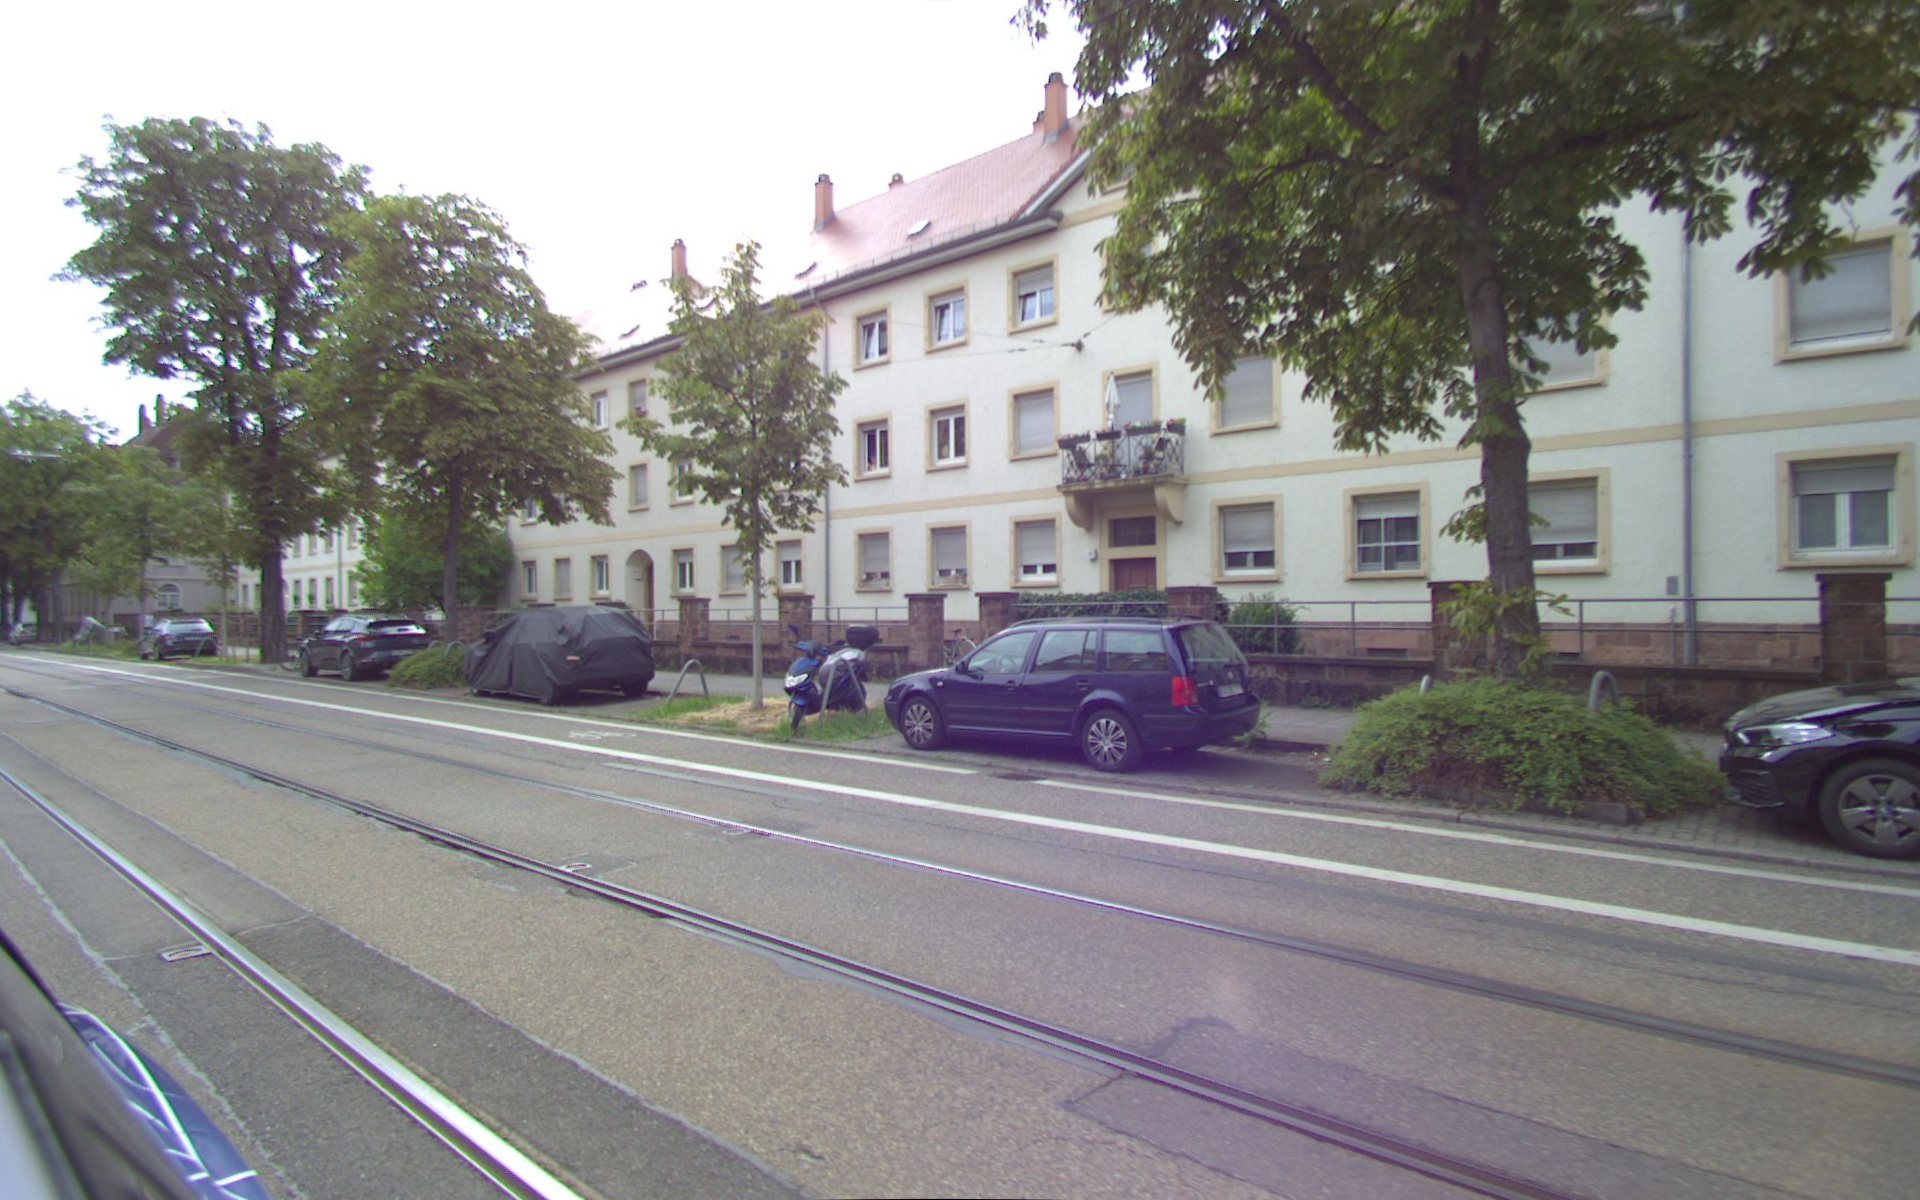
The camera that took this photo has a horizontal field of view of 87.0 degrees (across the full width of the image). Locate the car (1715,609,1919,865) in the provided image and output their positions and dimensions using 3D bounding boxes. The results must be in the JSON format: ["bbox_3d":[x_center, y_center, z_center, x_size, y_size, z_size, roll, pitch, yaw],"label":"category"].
[{"bbox_3d":[7.136,0.800,5.870,4.298,1.434,1.679,-1,2,41],"label":"car"}]

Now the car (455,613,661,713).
[{"bbox_3d":[-7.441,1.069,18.528,4.298,1.624,1.767,-1,-1,41],"label":"car"}]

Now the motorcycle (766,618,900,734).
[{"bbox_3d":[-1.659,0.970,13.525,0.591,1.269,1.850,-1,4,37],"label":"motorcycle"}]

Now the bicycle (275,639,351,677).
[{"bbox_3d":[-17.743,1.578,27.787,0.671,0.978,1.654,-1,-1,32],"label":"bicycle"}]

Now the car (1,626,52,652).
[{"bbox_3d":[-57.112,2.361,61.901,4.295,1.481,1.710,-1,-1,39],"label":"car"}]

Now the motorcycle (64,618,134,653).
[{"bbox_3d":[-40.515,1.645,47.655,2.278,1.400,0.839,-5,3,-17],"label":"motorcycle"}]

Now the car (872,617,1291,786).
[{"bbox_3d":[1.157,0.946,10.961,4.298,1.434,1.679,-1,0,41],"label":"car"}]

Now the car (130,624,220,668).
[{"bbox_3d":[-28.916,1.648,37.235,4.295,1.481,1.680,-1,-1,39],"label":"car"}]

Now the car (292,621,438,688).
[{"bbox_3d":[-14.487,1.256,24.547,4.295,1.481,1.680,-1,-1,39],"label":"car"}]
